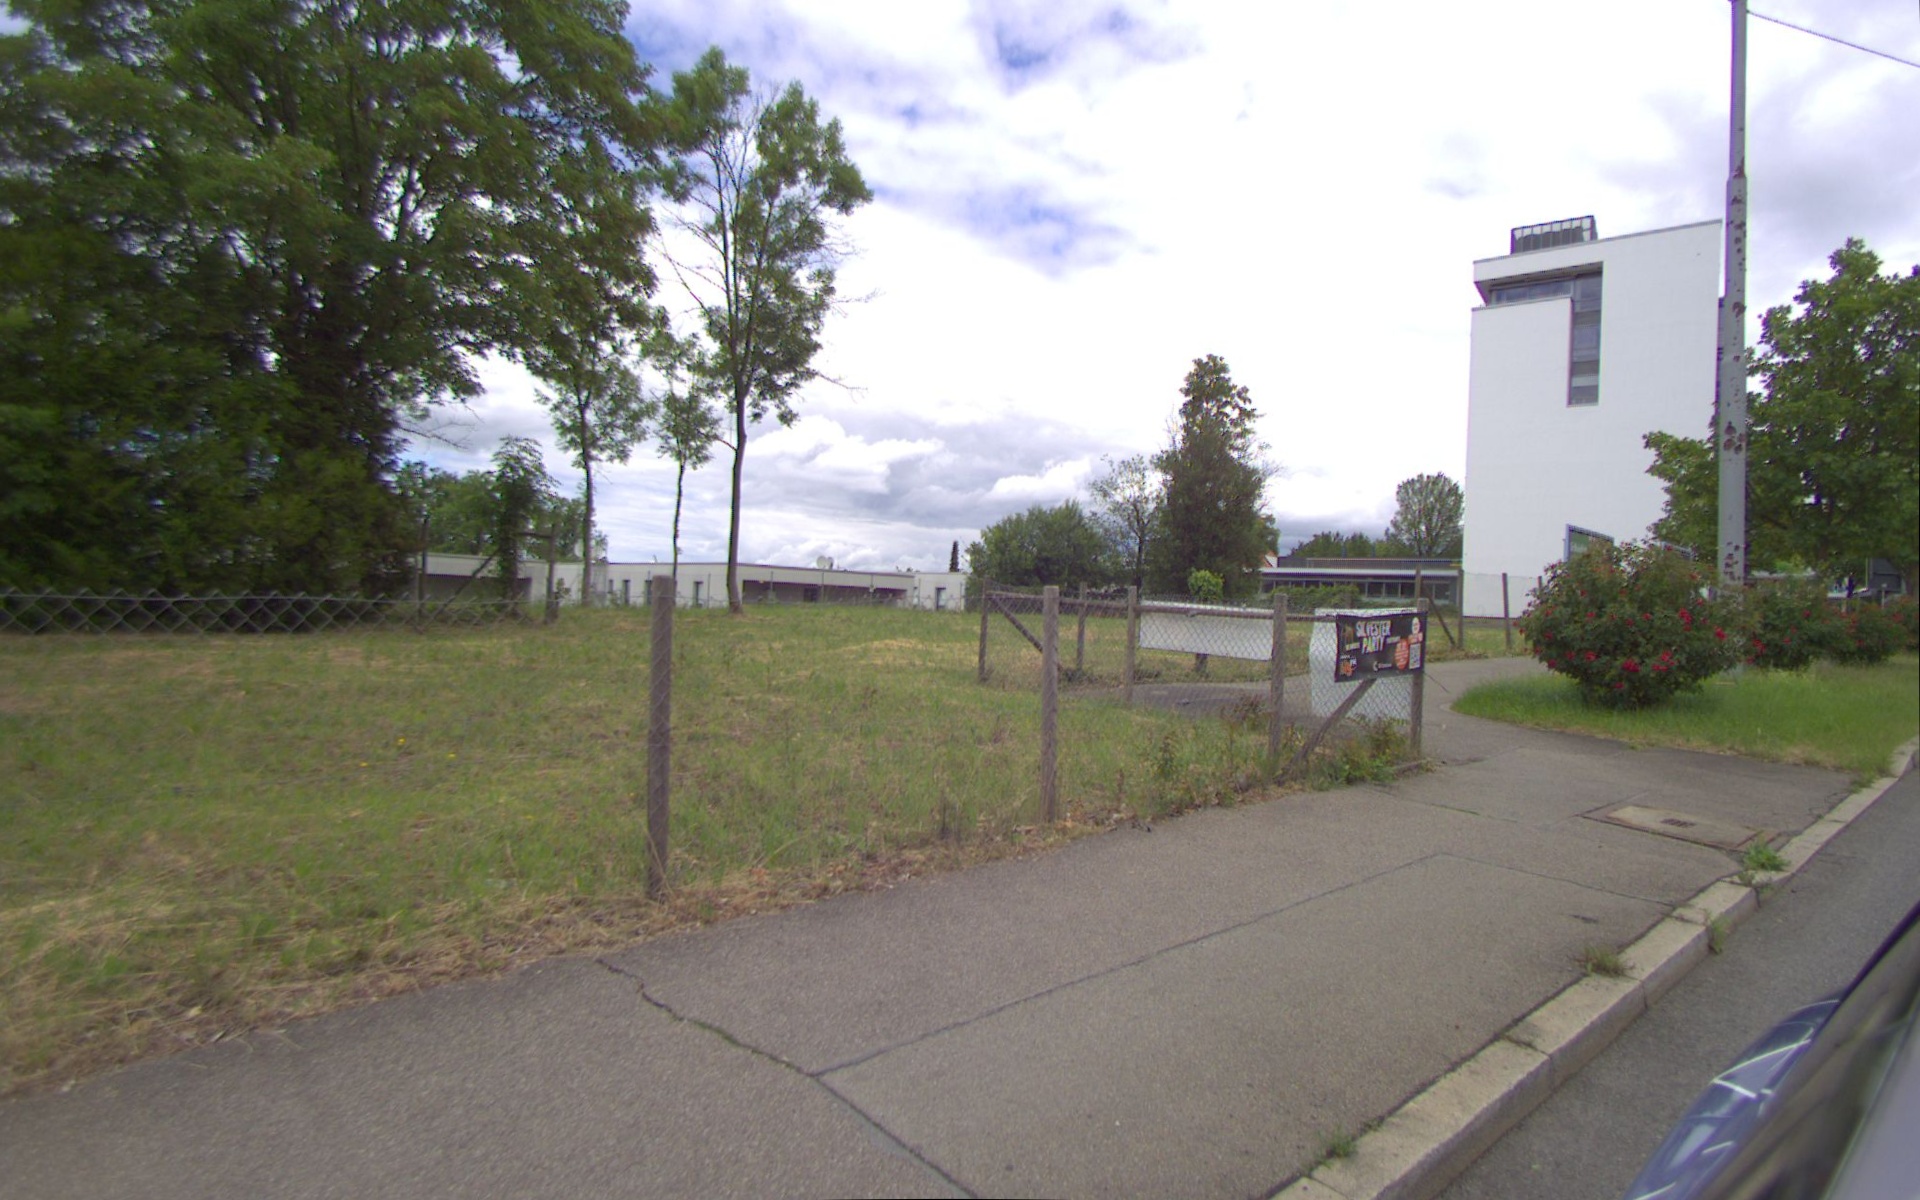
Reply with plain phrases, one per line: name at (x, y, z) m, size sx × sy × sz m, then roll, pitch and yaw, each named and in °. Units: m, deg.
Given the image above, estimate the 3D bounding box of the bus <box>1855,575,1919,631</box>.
bus at (59.550, 0.231, 64.641) m, size 2.709 × 3.145 × 8.747 m, roll 7°, pitch 4°, yaw 38°

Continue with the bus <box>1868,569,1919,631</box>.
bus at (54.161, 0.098, 57.587) m, size 2.708 × 3.202 × 9.002 m, roll 6°, pitch 3°, yaw 37°
